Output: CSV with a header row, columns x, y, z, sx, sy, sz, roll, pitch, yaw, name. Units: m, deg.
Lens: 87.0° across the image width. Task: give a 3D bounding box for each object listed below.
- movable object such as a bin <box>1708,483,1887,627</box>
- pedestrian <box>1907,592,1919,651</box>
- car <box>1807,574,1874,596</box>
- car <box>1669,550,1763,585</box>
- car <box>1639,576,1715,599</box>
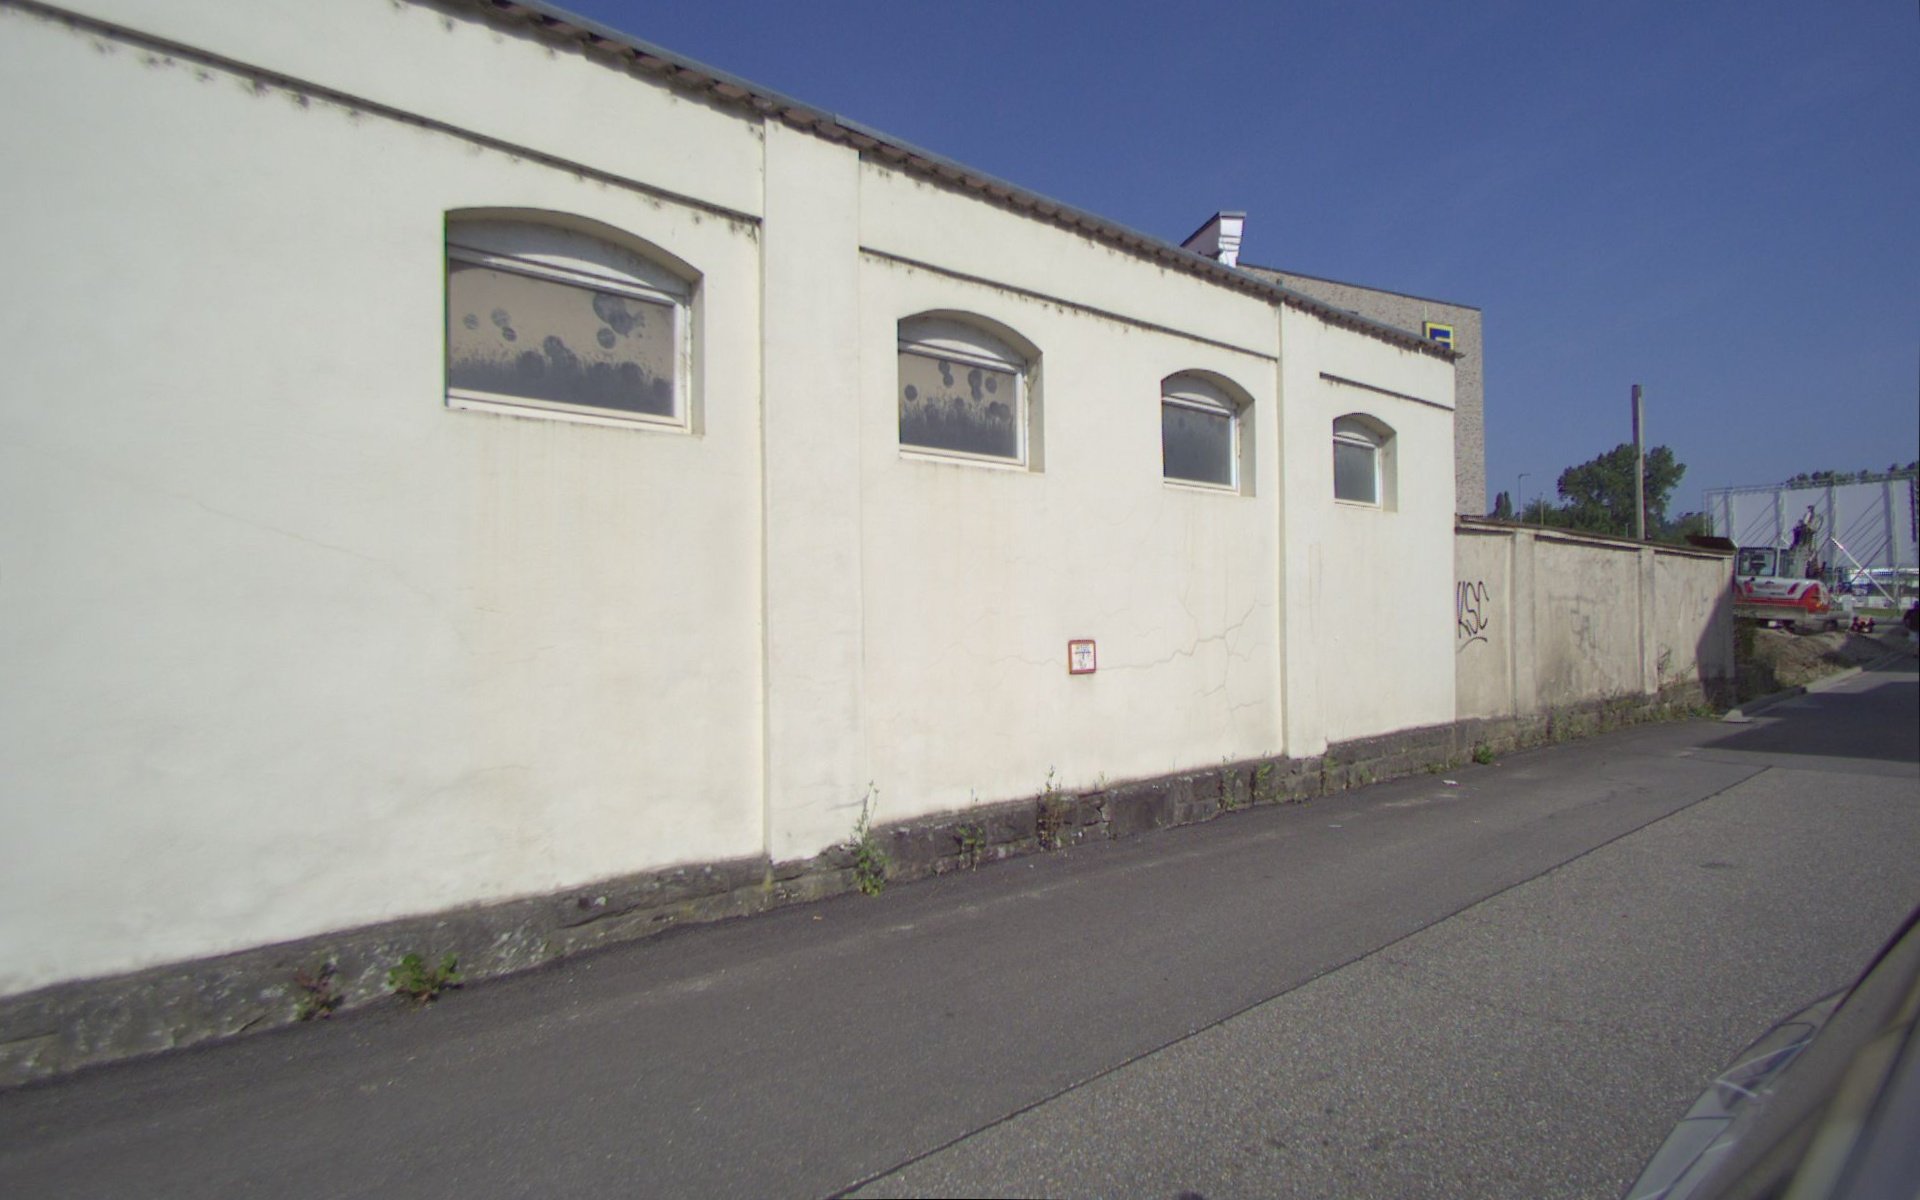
x,y,z,sx,sy,sz,roll,pitch,yaw,name
25.962,-1.287,31.231,7.654,3.904,2.300,-1,-3,-37,movable object such as a bin
27.981,0.598,29.119,0.706,1.705,0.889,-1,-3,-41,pedestrian
75.514,-1.258,86.873,1.747,1.595,4.016,1,-4,-38,car
63.935,-2.716,85.736,2.017,2.415,6.100,0,-4,-21,car
58.912,-1.013,83.253,1.882,1.550,4.867,-1,-4,-19,car
